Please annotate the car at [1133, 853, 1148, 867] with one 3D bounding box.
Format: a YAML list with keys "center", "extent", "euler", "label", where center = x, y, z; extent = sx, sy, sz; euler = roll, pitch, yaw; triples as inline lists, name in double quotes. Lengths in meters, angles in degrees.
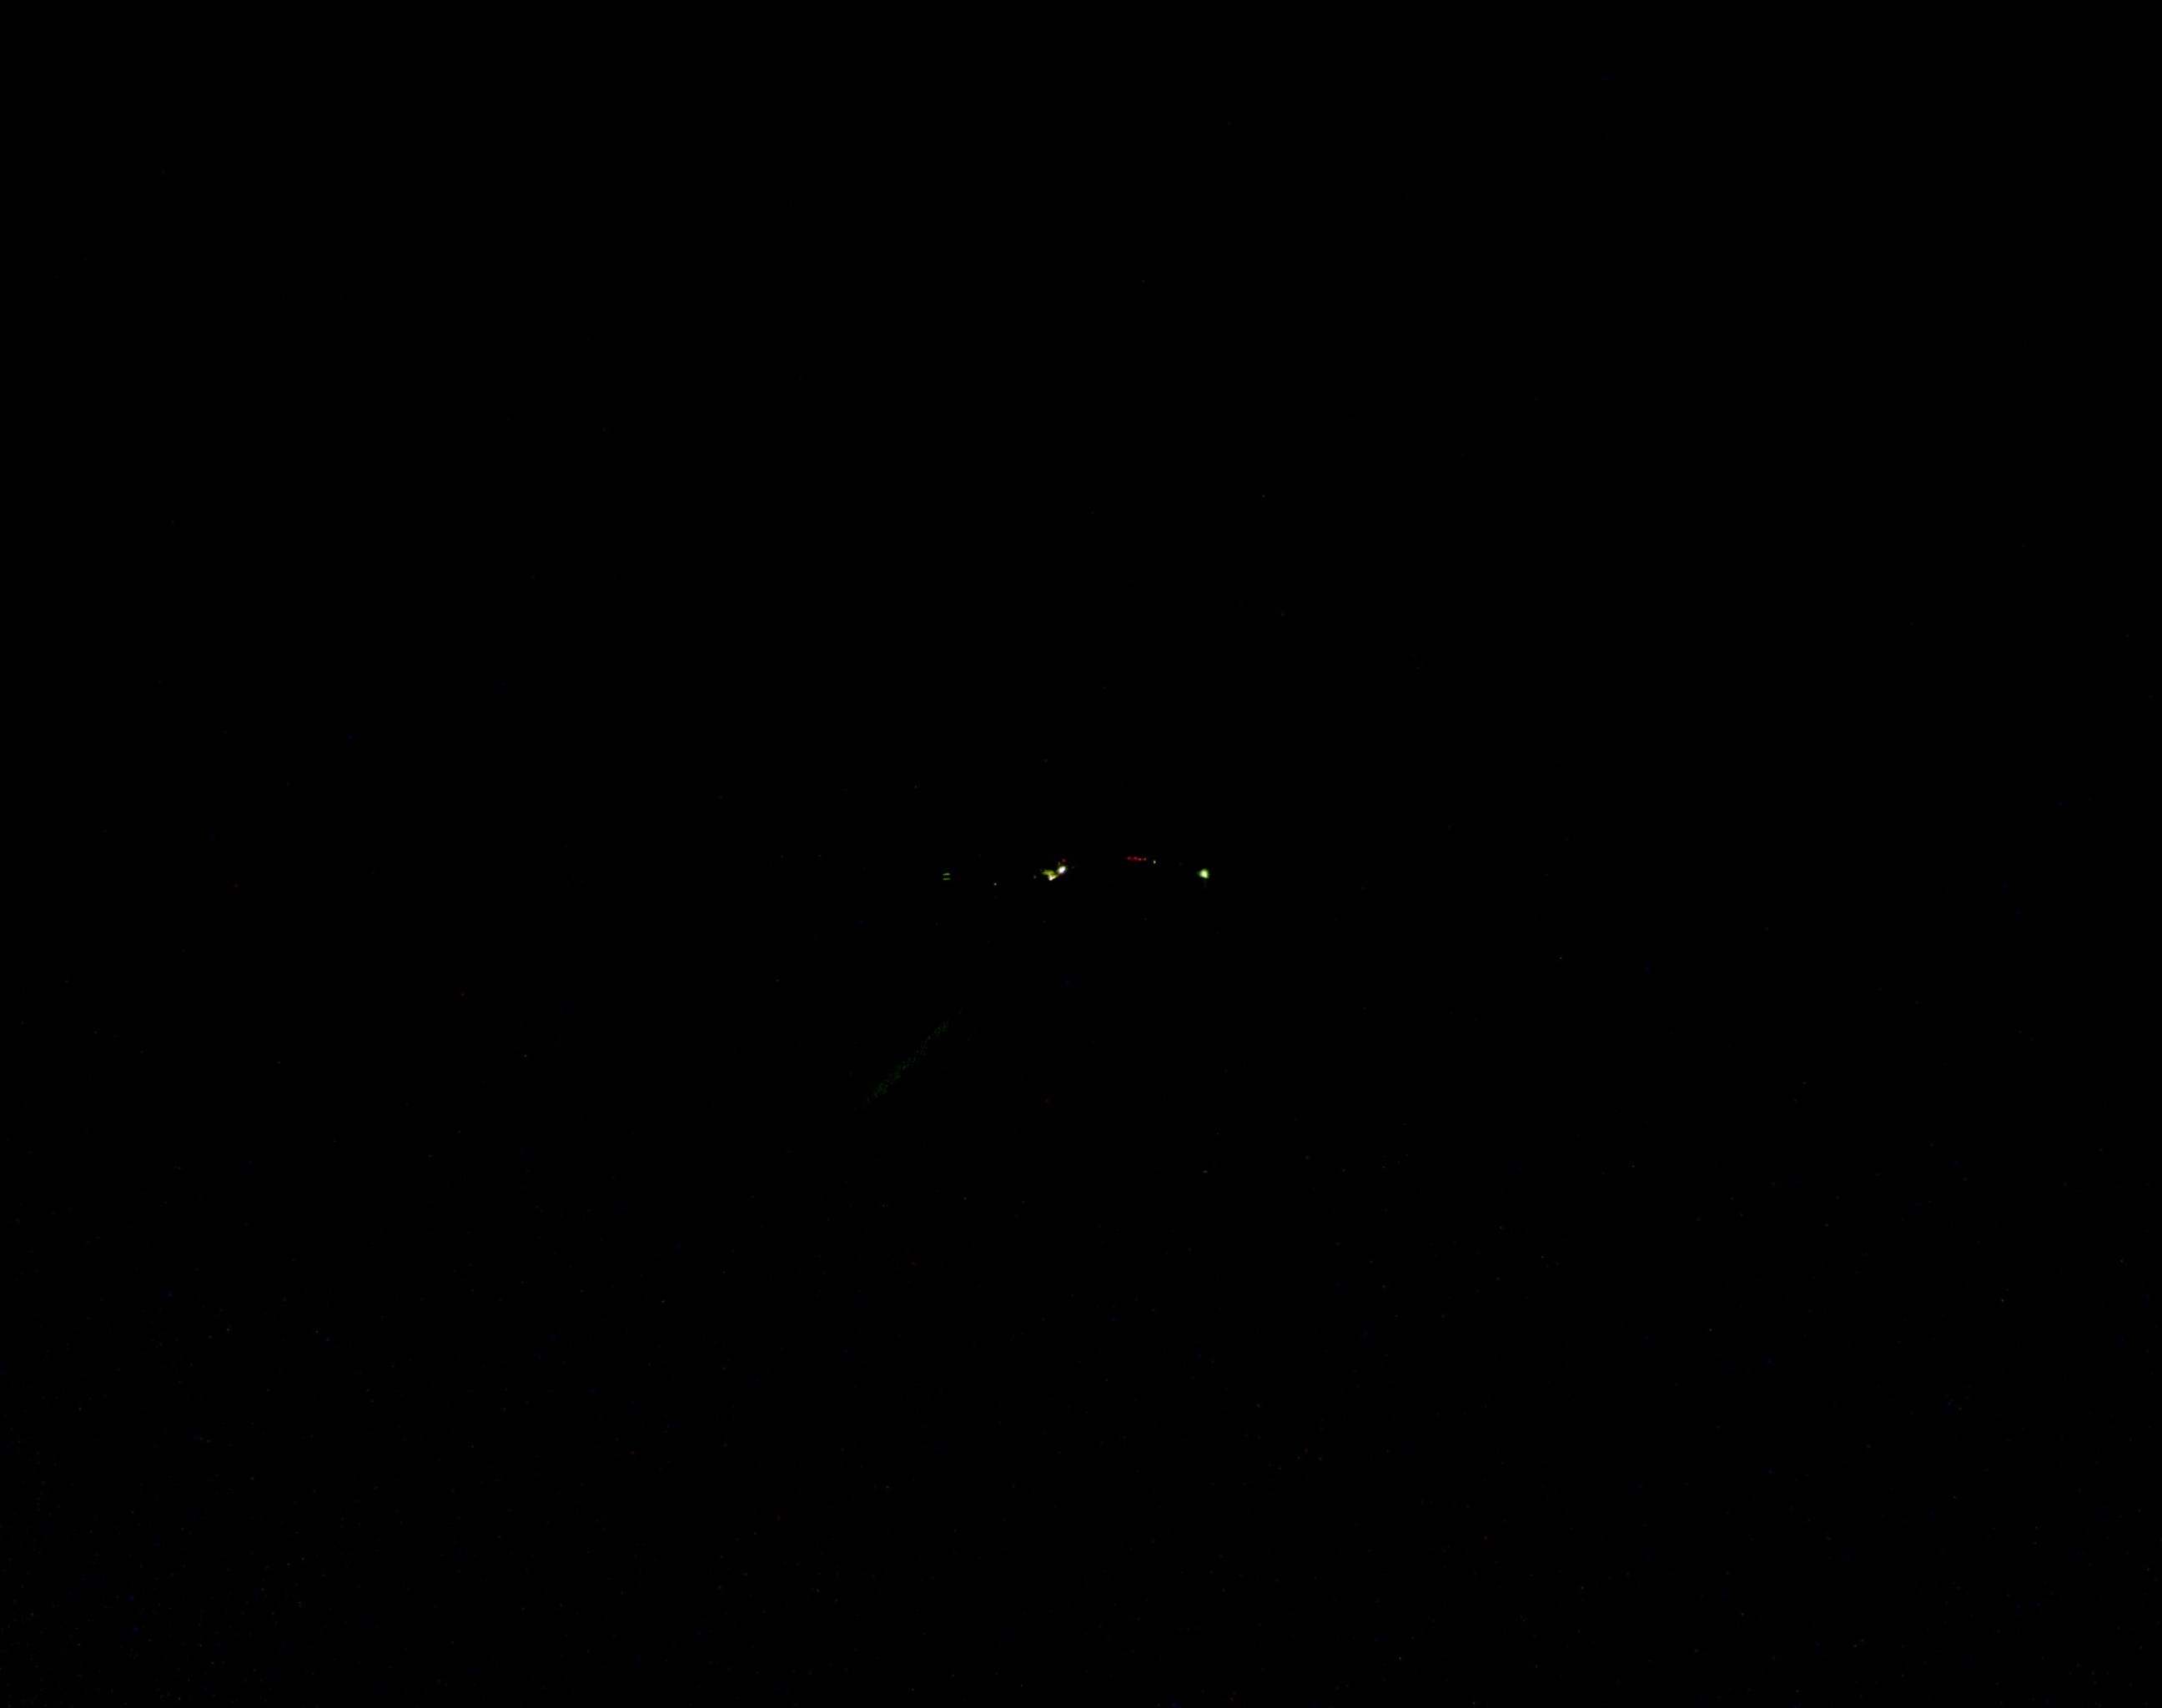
- center: [9.234, 0.934, 125.748]
  extent: [2.187, 2.014, 4.211]
  euler: [-1, -3, 4]
  label: "car"
